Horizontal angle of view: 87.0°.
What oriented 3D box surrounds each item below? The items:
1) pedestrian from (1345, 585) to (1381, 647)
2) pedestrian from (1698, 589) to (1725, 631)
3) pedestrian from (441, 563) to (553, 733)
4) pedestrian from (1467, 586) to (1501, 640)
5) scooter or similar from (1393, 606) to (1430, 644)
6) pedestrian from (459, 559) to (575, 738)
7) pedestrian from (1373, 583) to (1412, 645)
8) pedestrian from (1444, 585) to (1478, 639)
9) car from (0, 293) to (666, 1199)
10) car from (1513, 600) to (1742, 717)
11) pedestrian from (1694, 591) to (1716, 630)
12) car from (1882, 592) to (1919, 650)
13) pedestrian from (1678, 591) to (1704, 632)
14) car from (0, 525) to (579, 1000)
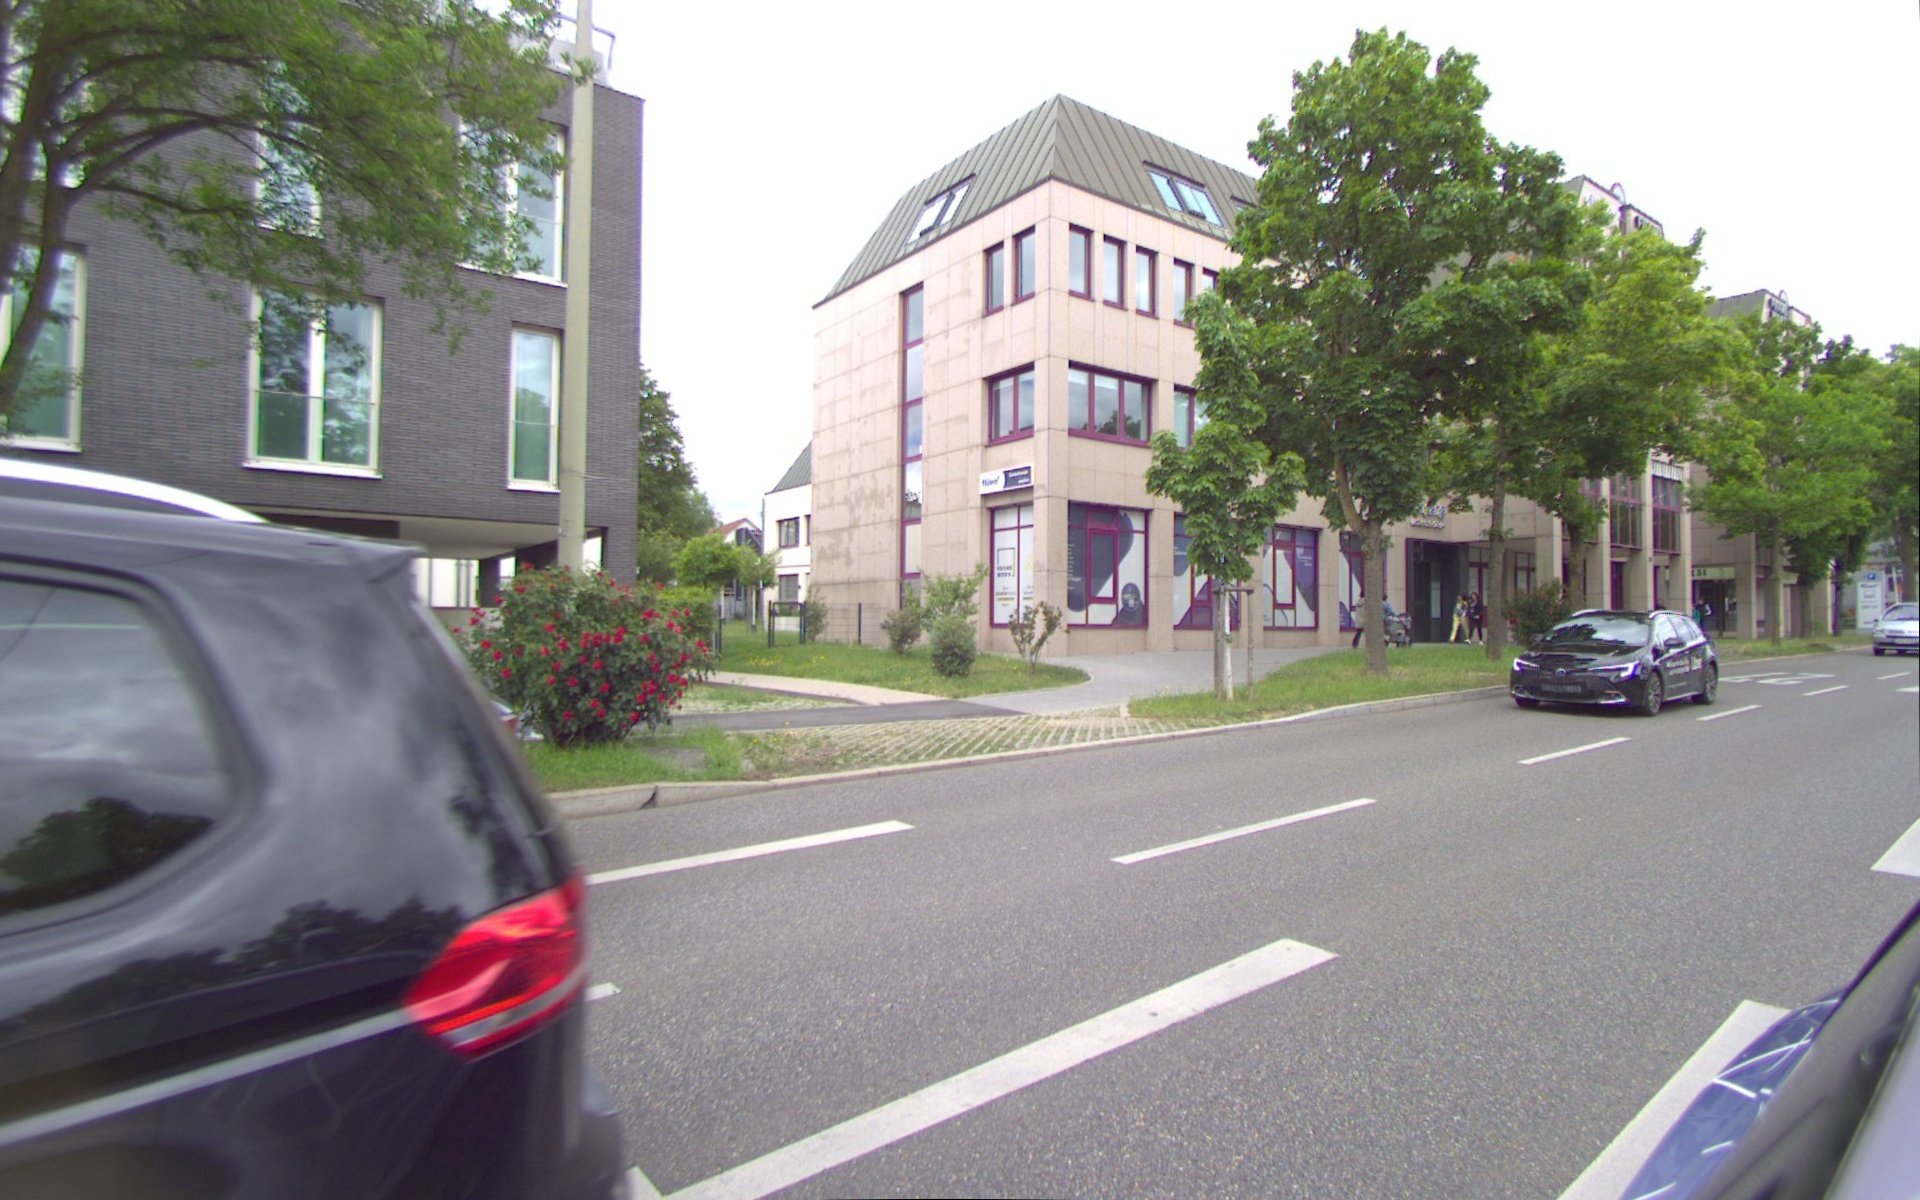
[{"bbox_3d":[11.305,0.433,28.374,0.814,1.721,0.569,0,-1,-36],"label":"pedestrian"},{"bbox_3d":[31.413,0.415,42.316,0.827,1.712,0.659,0,1,-36],"label":"pedestrian"},{"bbox_3d":[-5.135,0.529,11.240,0.936,1.798,0.609,3,-3,-40],"label":"pedestrian"},{"bbox_3d":[16.797,0.412,32.435,0.951,1.726,0.597,0,-1,-35],"label":"pedestrian"},{"bbox_3d":[12.483,0.688,28.002,0.830,1.006,0.585,0,0,-34],"label":"scooter or similar"},{"bbox_3d":[-4.685,0.505,10.716,0.936,1.798,0.609,3,-3,-40],"label":"pedestrian"},{"bbox_3d":[11.755,0.372,27.501,0.943,1.673,0.557,0,0,-34],"label":"pedestrian"},{"bbox_3d":[16.268,0.396,32.887,0.951,1.726,0.597,0,-1,-35],"label":"pedestrian"},{"bbox_3d":[-2.632,0.528,0.707,4.237,1.661,1.970,0,1,-42],"label":"car"},{"bbox_3d":[10.069,0.758,15.144,4.343,1.467,1.767,-1,0,-41],"label":"car"},{"bbox_3d":[30.377,0.421,41.257,0.534,1.569,0.563,0,1,-36],"label":"pedestrian"},{"bbox_3d":[29.207,0.616,30.310,4.080,1.656,1.763,0,0,-39],"label":"car"},{"bbox_3d":[31.109,0.495,43.054,0.827,1.712,0.659,0,1,-36],"label":"pedestrian"},{"bbox_3d":[-3.841,0.468,3.598,4.237,1.457,1.970,0,1,-42],"label":"car"}]
